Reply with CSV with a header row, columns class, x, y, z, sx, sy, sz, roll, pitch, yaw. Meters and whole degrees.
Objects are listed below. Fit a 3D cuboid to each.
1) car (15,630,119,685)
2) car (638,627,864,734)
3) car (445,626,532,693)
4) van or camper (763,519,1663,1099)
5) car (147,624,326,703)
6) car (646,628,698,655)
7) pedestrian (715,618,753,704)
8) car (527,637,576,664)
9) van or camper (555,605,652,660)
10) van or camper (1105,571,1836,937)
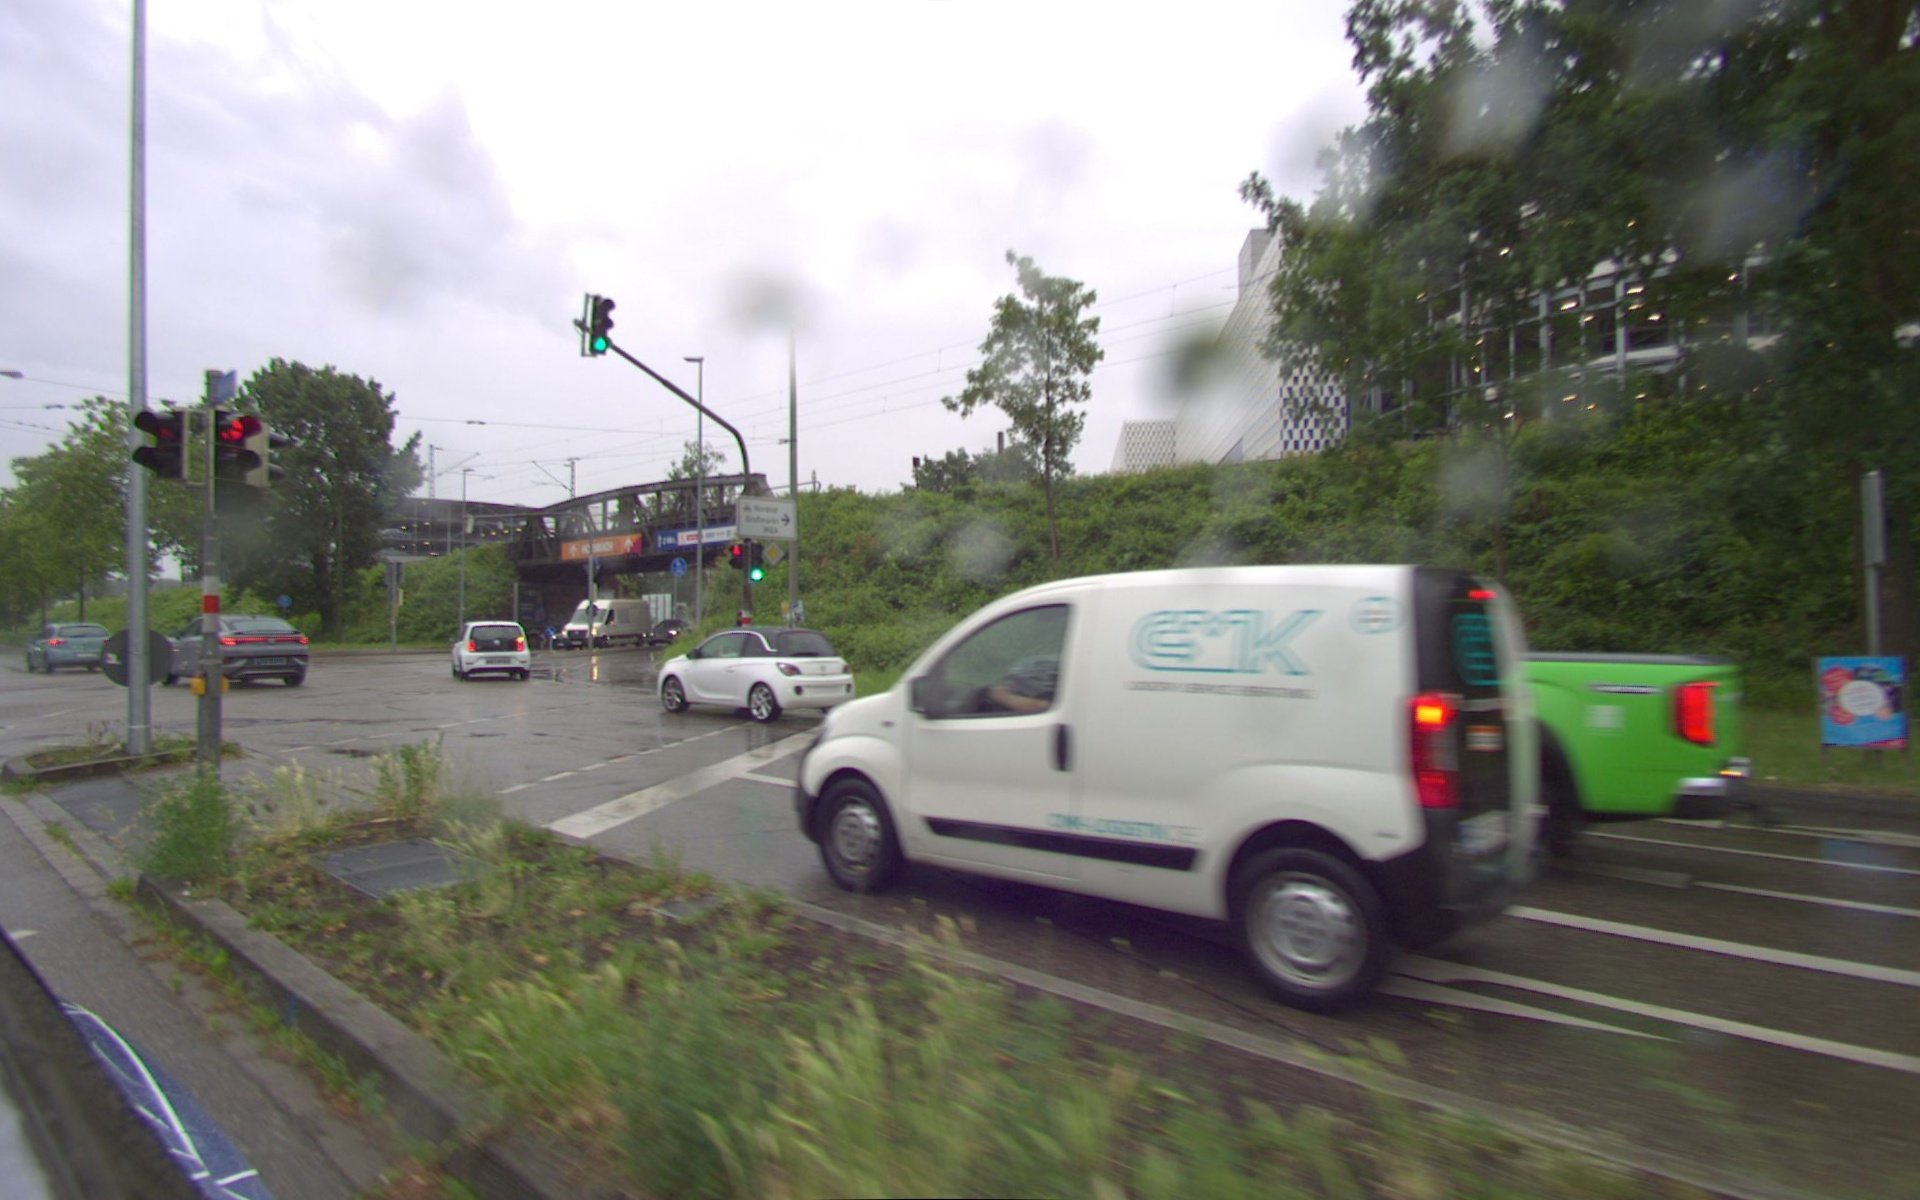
class,x,y,z,sx,sy,sz,roll,pitch,yaw
car,-27.602,1.733,31.258,3.617,1.614,1.677,-1,-2,36
car,-3.490,1.250,16.605,3.785,1.555,1.654,-2,-3,40
car,-12.303,1.506,26.317,1.626,1.614,3.576,1,-2,-32
van or camper,0.979,0.714,5.054,3.997,1.755,1.710,-2,-4,41
car,-16.391,1.370,22.885,4.378,1.614,1.954,-1,-2,35
car,-17.049,2.427,60.025,1.673,1.566,3.799,0,-2,6
pedestrian,-4.860,1.296,21.771,0.625,1.801,0.480,-1,-2,33
car,-22.170,2.720,55.035,1.667,1.358,3.475,0,-2,-8
van or camper,-18.339,1.669,52.521,1.975,2.682,6.916,0,-2,6
van or camper,3.248,0.834,7.028,4.218,1.798,1.683,-2,-3,41
